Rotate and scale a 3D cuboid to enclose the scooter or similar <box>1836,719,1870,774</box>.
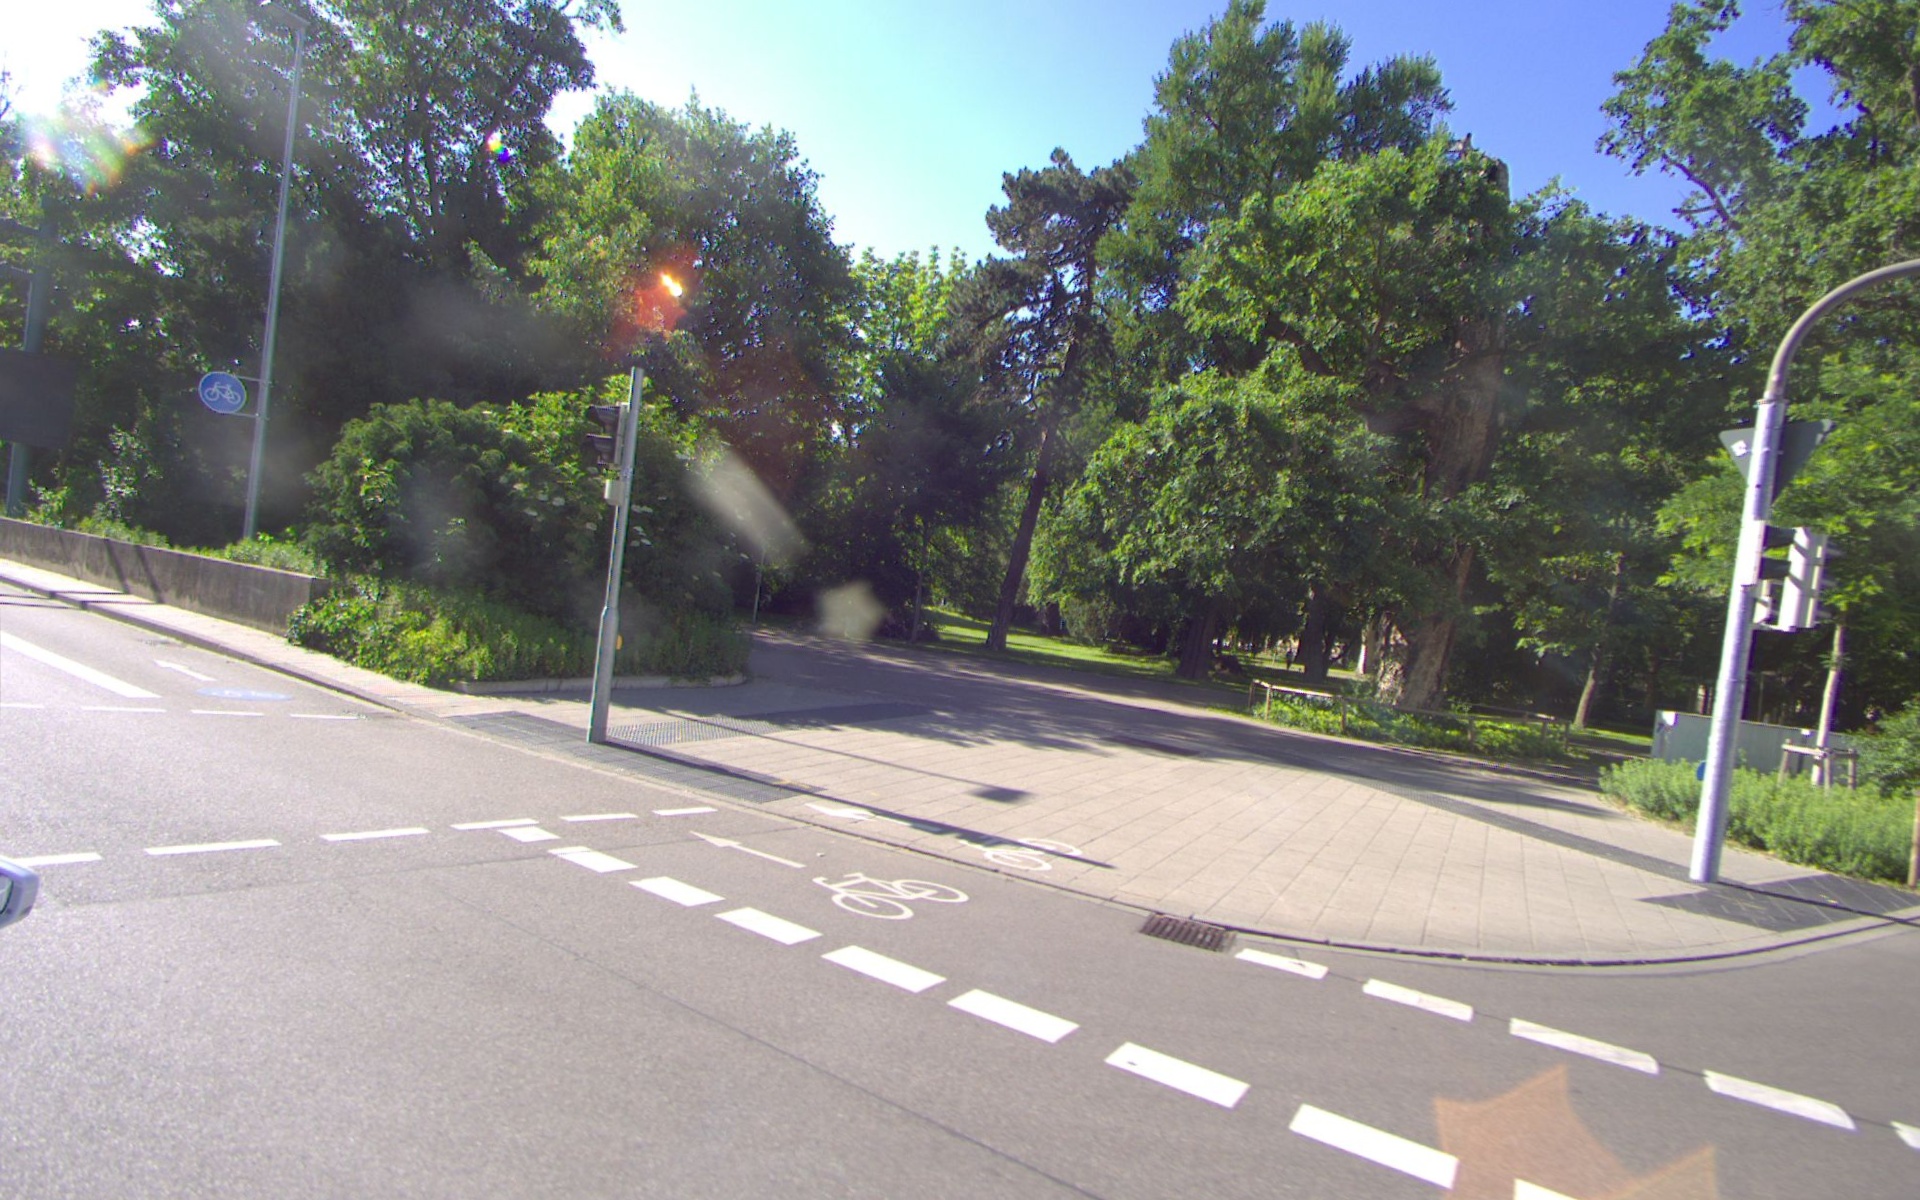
[{"bbox_3d":[33.105,5.427,37.278,0.747,1.859,3.217,7,-1,43],"label":"scooter or similar"}]

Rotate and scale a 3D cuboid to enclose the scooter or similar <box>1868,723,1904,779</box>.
[{"bbox_3d":[33.659,5.483,36.592,0.747,1.859,3.217,7,-1,43],"label":"scooter or similar"}]

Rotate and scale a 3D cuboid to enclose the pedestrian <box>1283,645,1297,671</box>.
[{"bbox_3d":[26.824,4.722,81.726,0.567,2.038,0.611,7,0,-20],"label":"pedestrian"}]
